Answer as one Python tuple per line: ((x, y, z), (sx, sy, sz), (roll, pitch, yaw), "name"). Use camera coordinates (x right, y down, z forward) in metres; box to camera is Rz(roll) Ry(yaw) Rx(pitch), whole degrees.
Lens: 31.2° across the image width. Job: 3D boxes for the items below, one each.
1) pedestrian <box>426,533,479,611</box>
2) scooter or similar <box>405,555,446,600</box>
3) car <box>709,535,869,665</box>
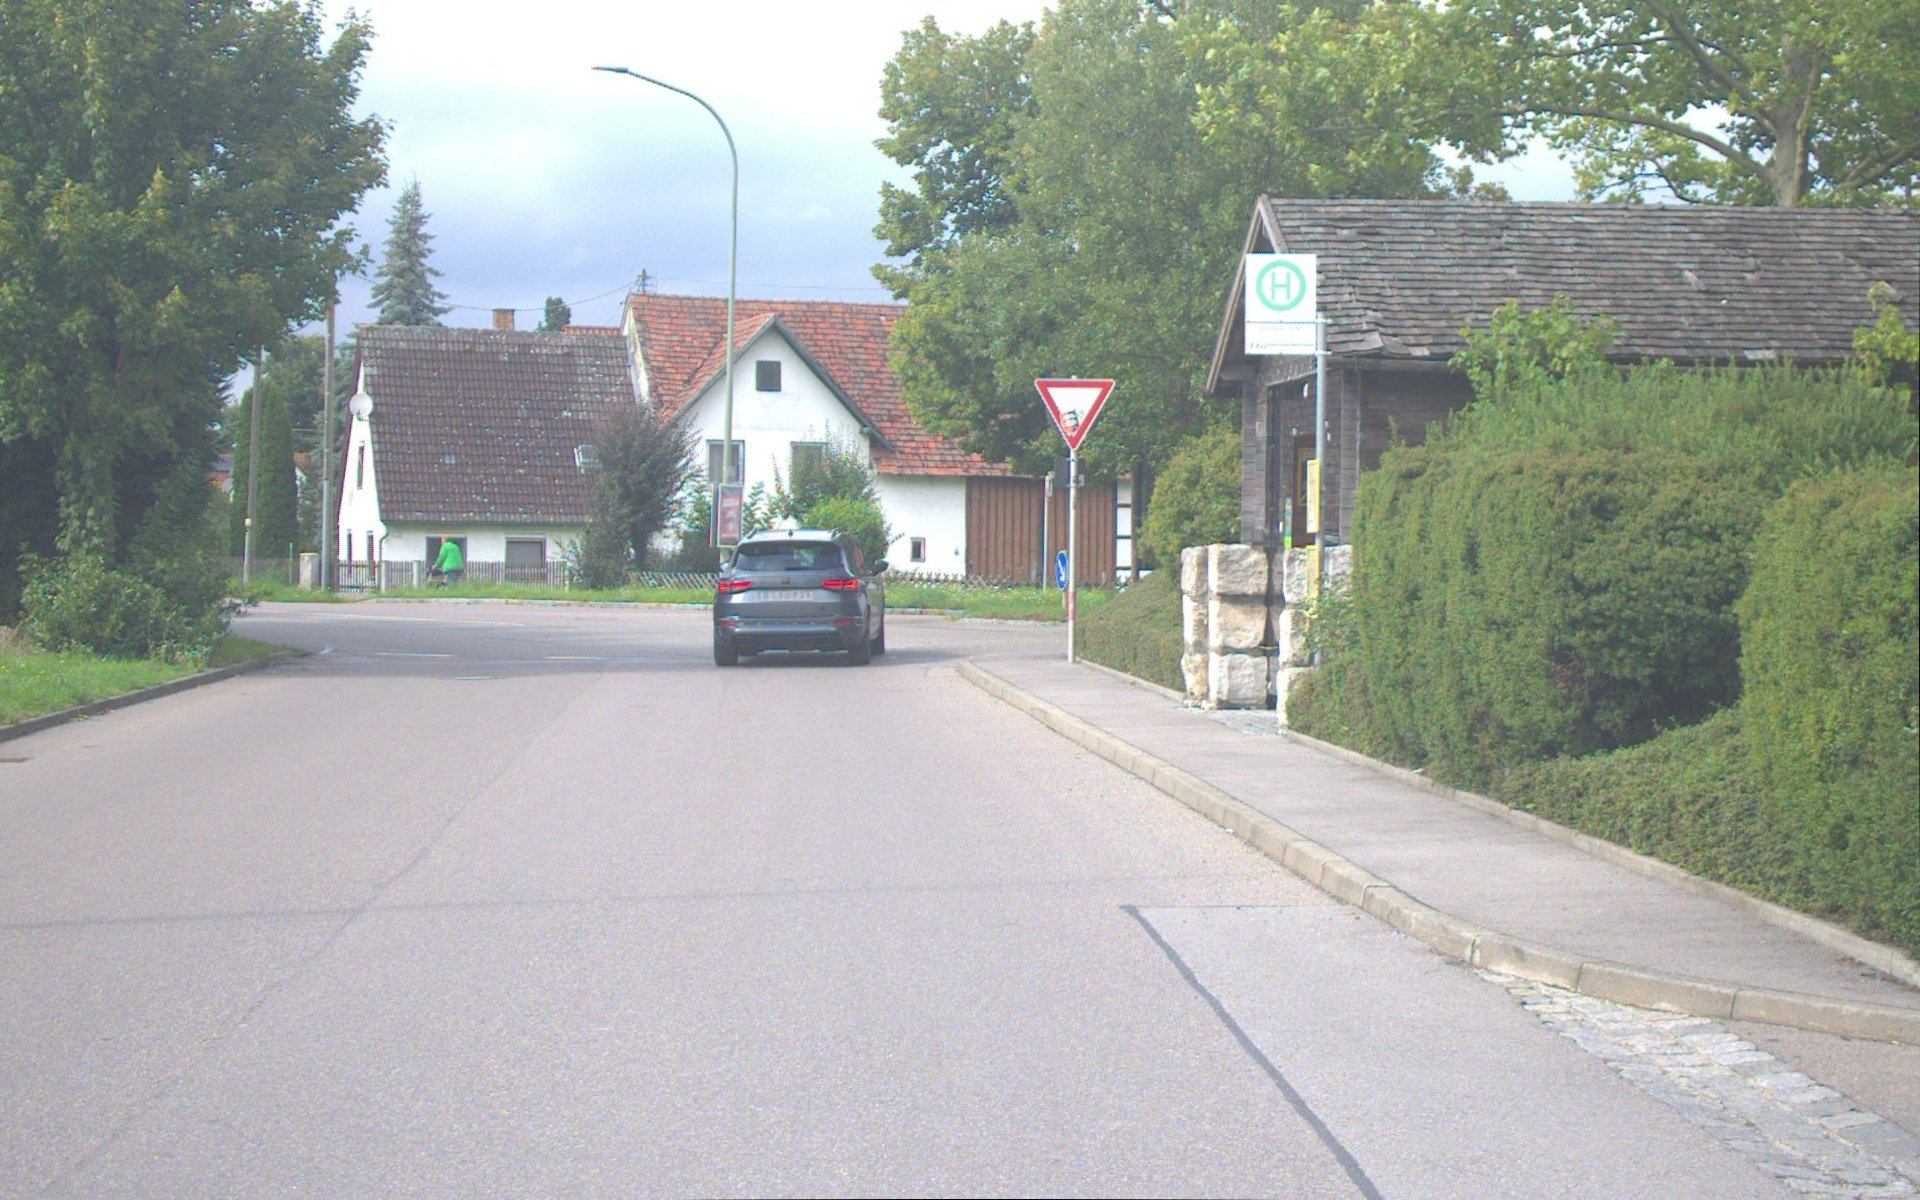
((-11.206, -0.616, 75.924), (0.788, 1.659, 0.712), (5, -2, -36), "pedestrian")
((-11.876, -0.492, 76.390), (0.630, 0.945, 0.622), (5, -2, -36), "scooter or similar")
((-1.984, -0.031, 40.757), (1.798, 1.457, 3.662), (0, 1, -1), "car")
